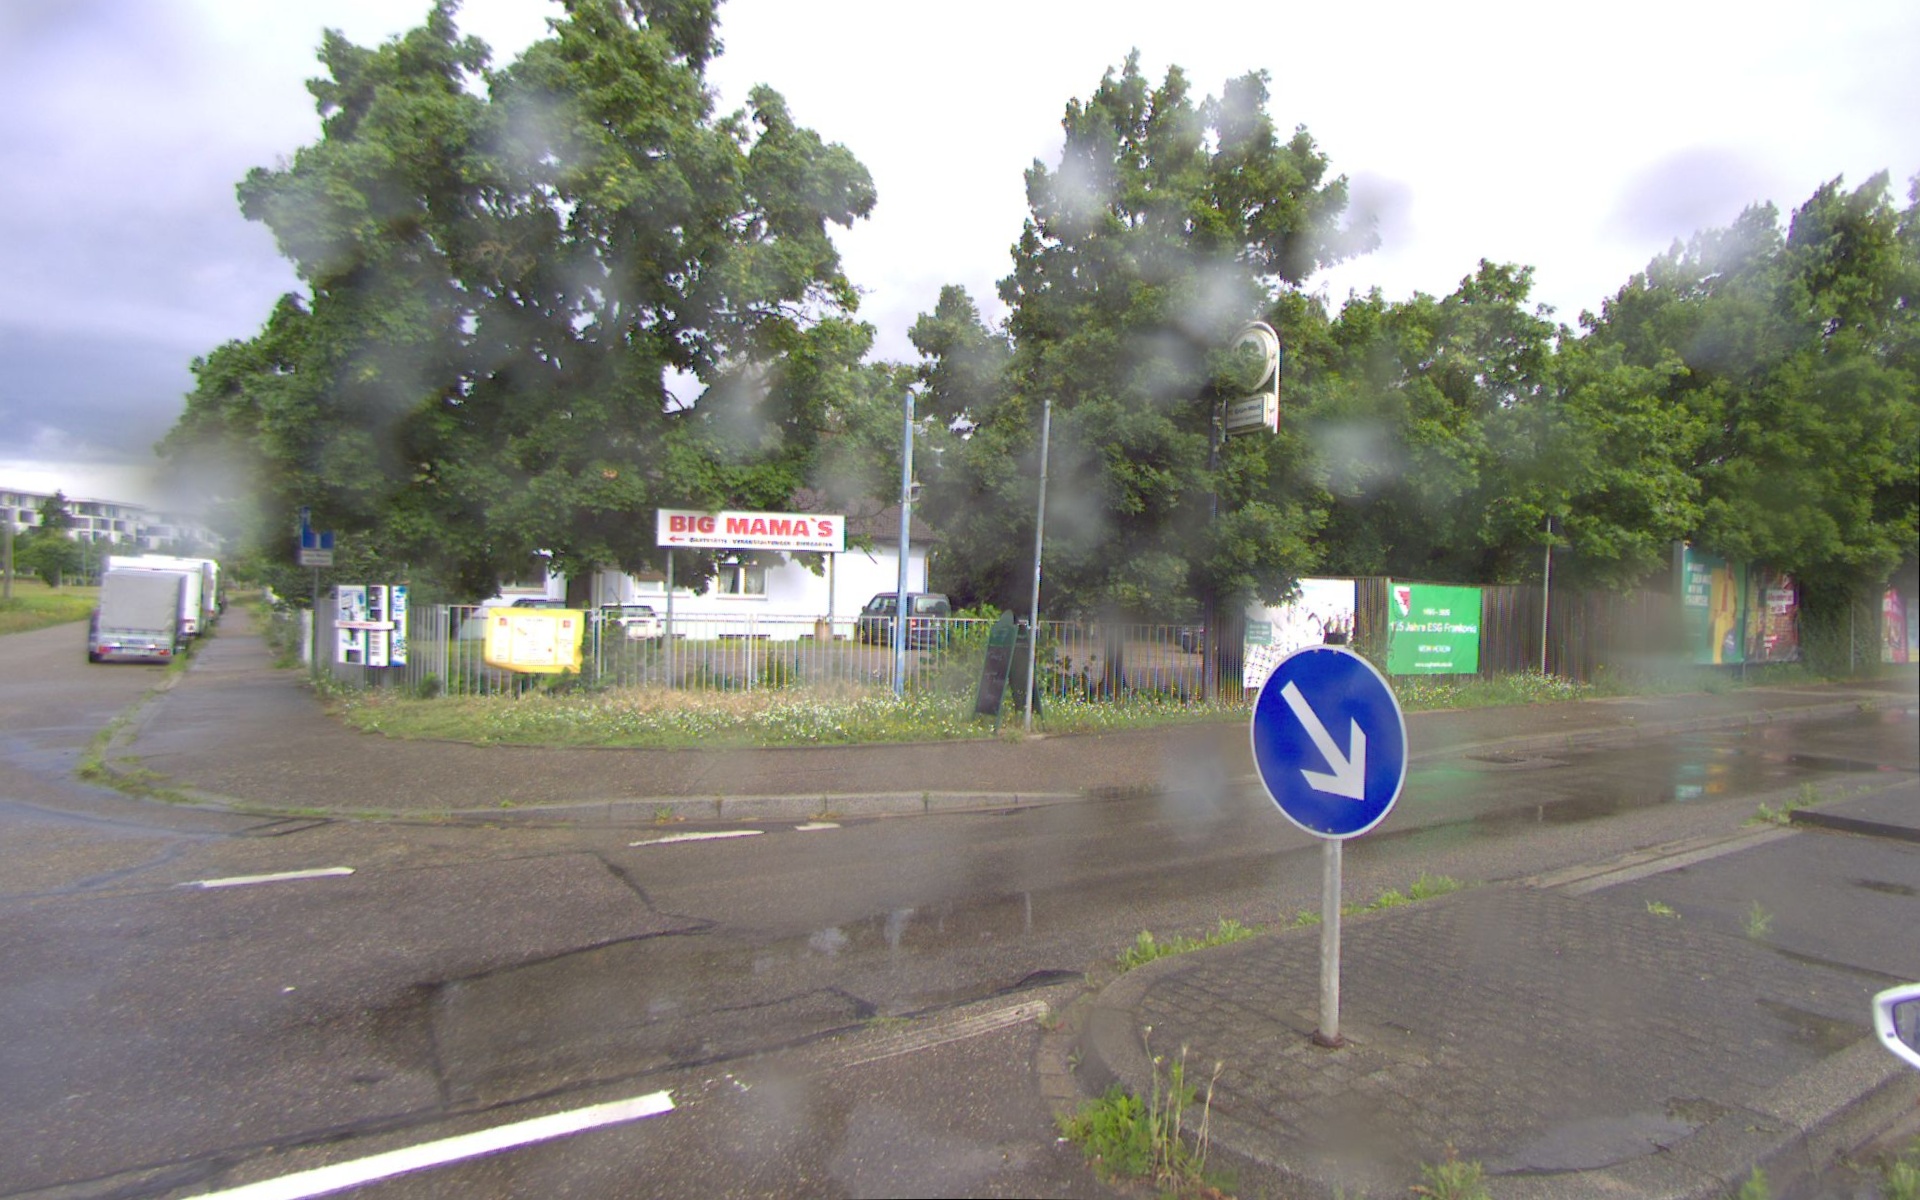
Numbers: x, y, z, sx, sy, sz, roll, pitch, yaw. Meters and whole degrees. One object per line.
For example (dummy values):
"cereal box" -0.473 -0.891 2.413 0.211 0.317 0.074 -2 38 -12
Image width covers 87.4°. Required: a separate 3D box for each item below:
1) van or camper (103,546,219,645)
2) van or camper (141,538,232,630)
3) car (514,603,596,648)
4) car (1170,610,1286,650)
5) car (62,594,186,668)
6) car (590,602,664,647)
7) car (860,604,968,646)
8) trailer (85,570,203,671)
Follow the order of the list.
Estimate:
"van or camper" -25.919 -0.124 32.780 2.457 2.985 4.474 2 0 -33
"van or camper" -34.197 -0.662 44.593 2.626 3.794 5.798 2 0 -33
"car" -11.994 0.722 29.677 1.647 1.224 3.354 2 -1 -33
"car" 10.335 1.153 38.591 4.502 1.437 1.979 2 -1 -37
"car" -22.341 0.787 27.018 1.979 1.799 4.478 2 -1 -33
"car" -10.687 0.758 32.118 1.374 1.333 3.888 2 -1 -32
"car" -1.757 0.894 37.025 1.979 1.437 4.503 2 -1 -33
"trailer" -19.109 0.417 23.683 1.827 2.117 4.072 2 1 -35
